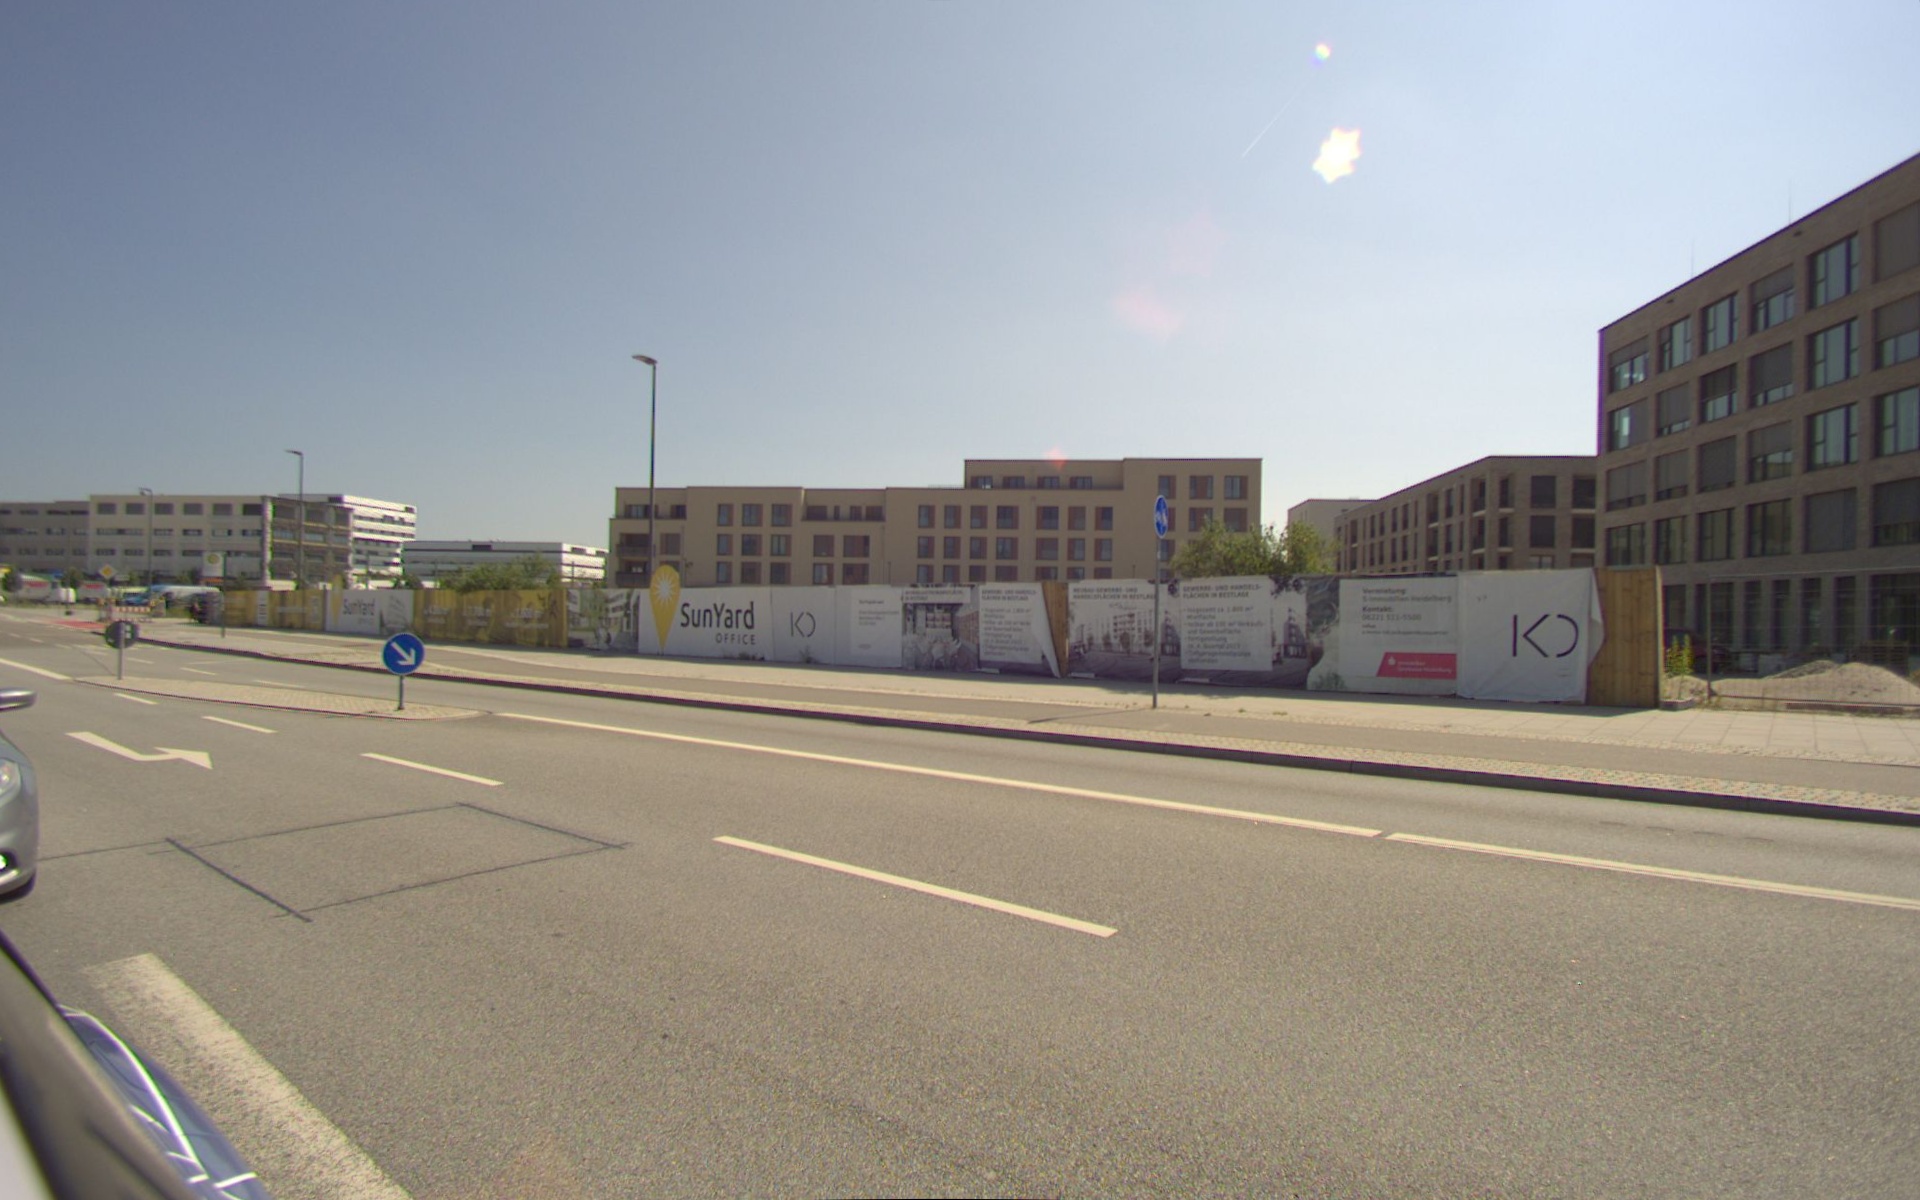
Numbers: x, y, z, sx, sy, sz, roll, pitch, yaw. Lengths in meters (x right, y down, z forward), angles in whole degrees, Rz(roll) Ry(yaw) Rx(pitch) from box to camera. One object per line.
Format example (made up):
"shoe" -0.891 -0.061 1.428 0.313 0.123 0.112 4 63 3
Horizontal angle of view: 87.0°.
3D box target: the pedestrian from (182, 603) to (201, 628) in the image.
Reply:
"pedestrian" -48.994 0.987 64.512 0.610 1.598 0.703 -1 0 5

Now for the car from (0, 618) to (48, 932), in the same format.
"car" -6.291 0.807 5.315 4.134 1.390 1.762 -1 0 41
